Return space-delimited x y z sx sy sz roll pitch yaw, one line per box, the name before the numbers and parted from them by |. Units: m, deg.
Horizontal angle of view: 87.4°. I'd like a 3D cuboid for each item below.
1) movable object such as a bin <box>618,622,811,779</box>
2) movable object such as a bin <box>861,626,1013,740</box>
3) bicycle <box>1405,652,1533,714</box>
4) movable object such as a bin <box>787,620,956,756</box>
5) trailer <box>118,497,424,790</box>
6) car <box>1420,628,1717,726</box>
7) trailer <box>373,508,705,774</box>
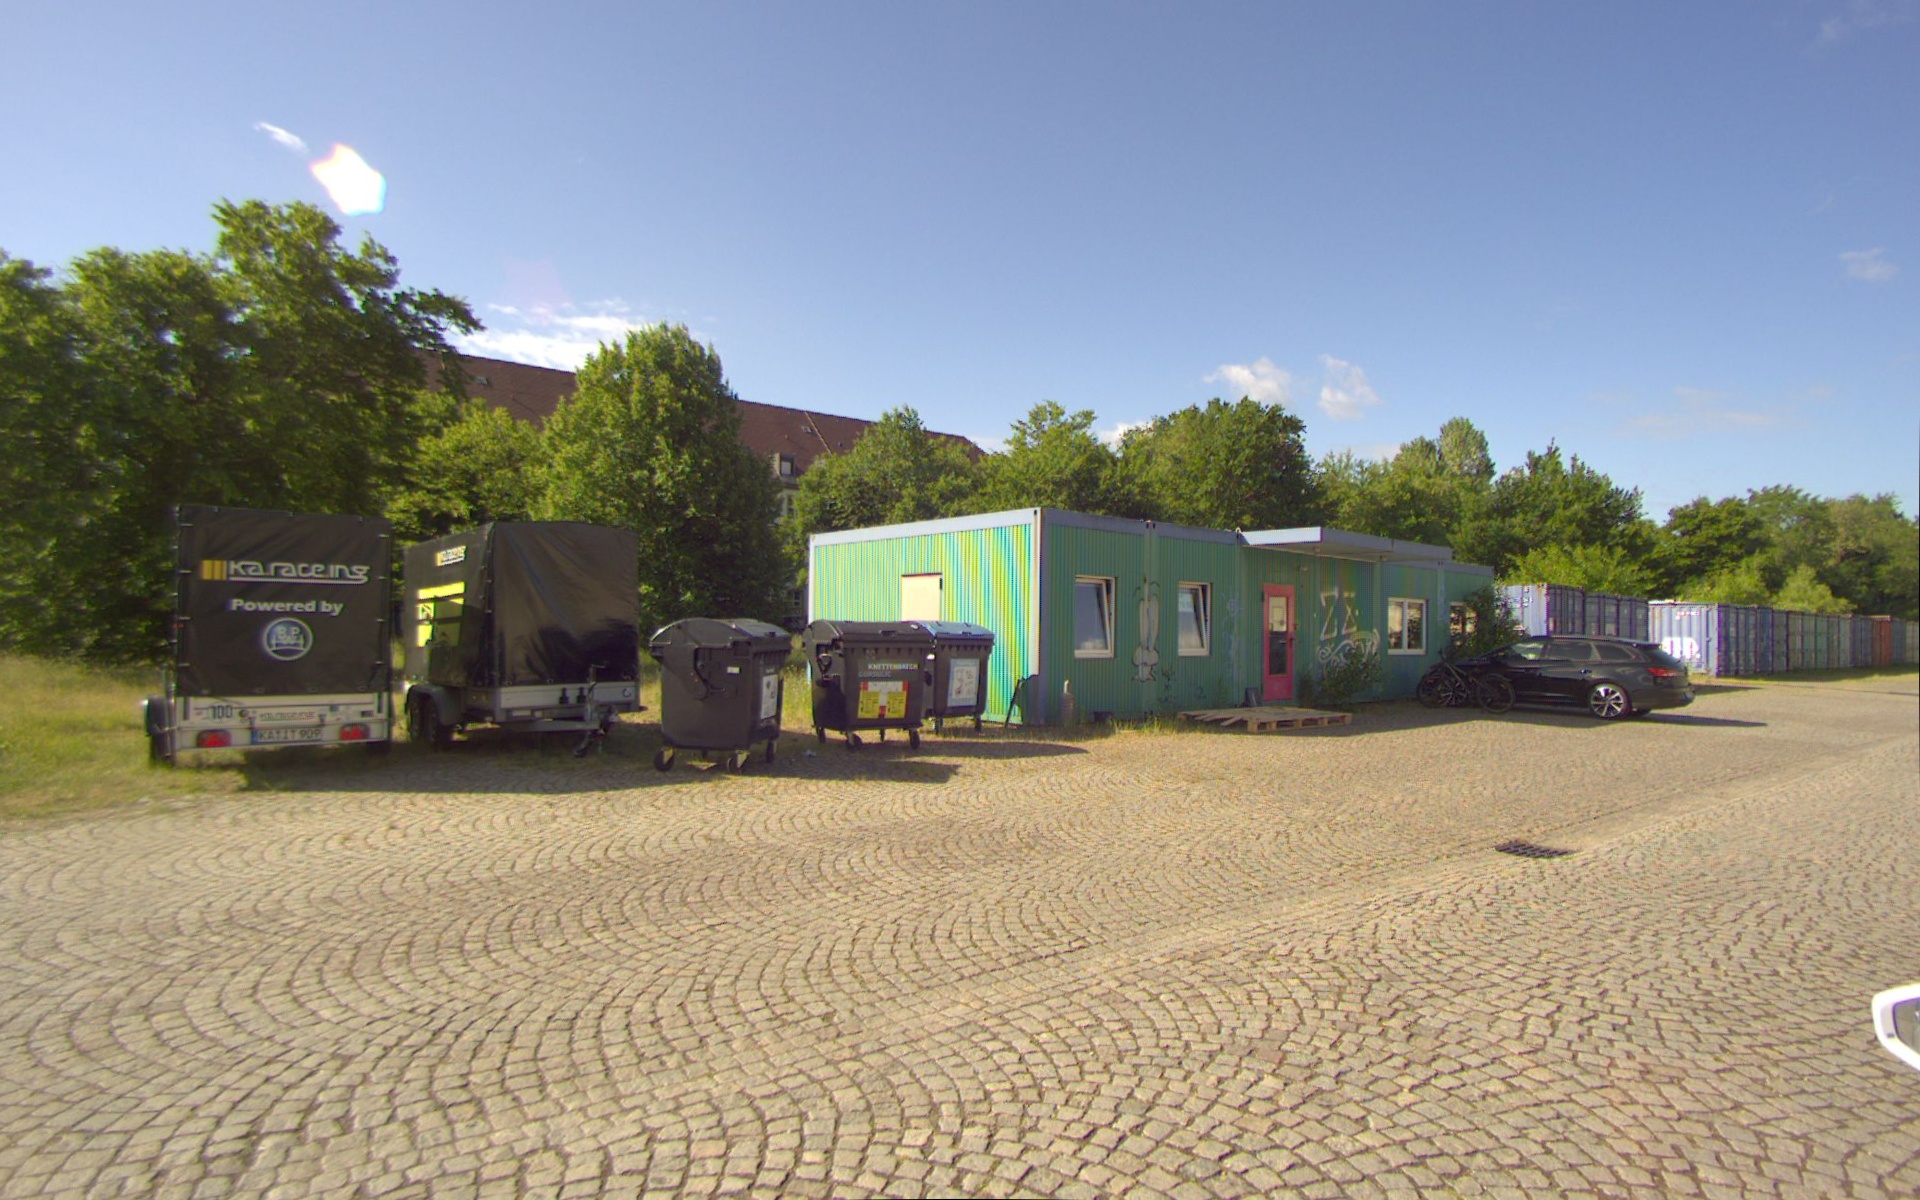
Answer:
movable object such as a bin | -2.364 0.932 9.940 1.358 1.404 1.537 0 -2 8
movable object such as a bin | -0.293 1.058 13.420 1.365 1.404 1.528 -1 -2 40
bicycle | 9.385 1.500 18.565 1.030 1.041 1.859 2 -2 -40
movable object such as a bin | -1.035 0.971 11.700 1.521 1.441 1.287 2 -2 -37
trailer | -7.164 0.414 10.474 2.117 2.328 4.623 2 -2 -36
car | 11.248 1.340 18.816 1.984 1.484 4.376 2 -1 -41
trailer | -5.040 0.438 11.578 2.079 2.385 4.916 2 -2 -41
